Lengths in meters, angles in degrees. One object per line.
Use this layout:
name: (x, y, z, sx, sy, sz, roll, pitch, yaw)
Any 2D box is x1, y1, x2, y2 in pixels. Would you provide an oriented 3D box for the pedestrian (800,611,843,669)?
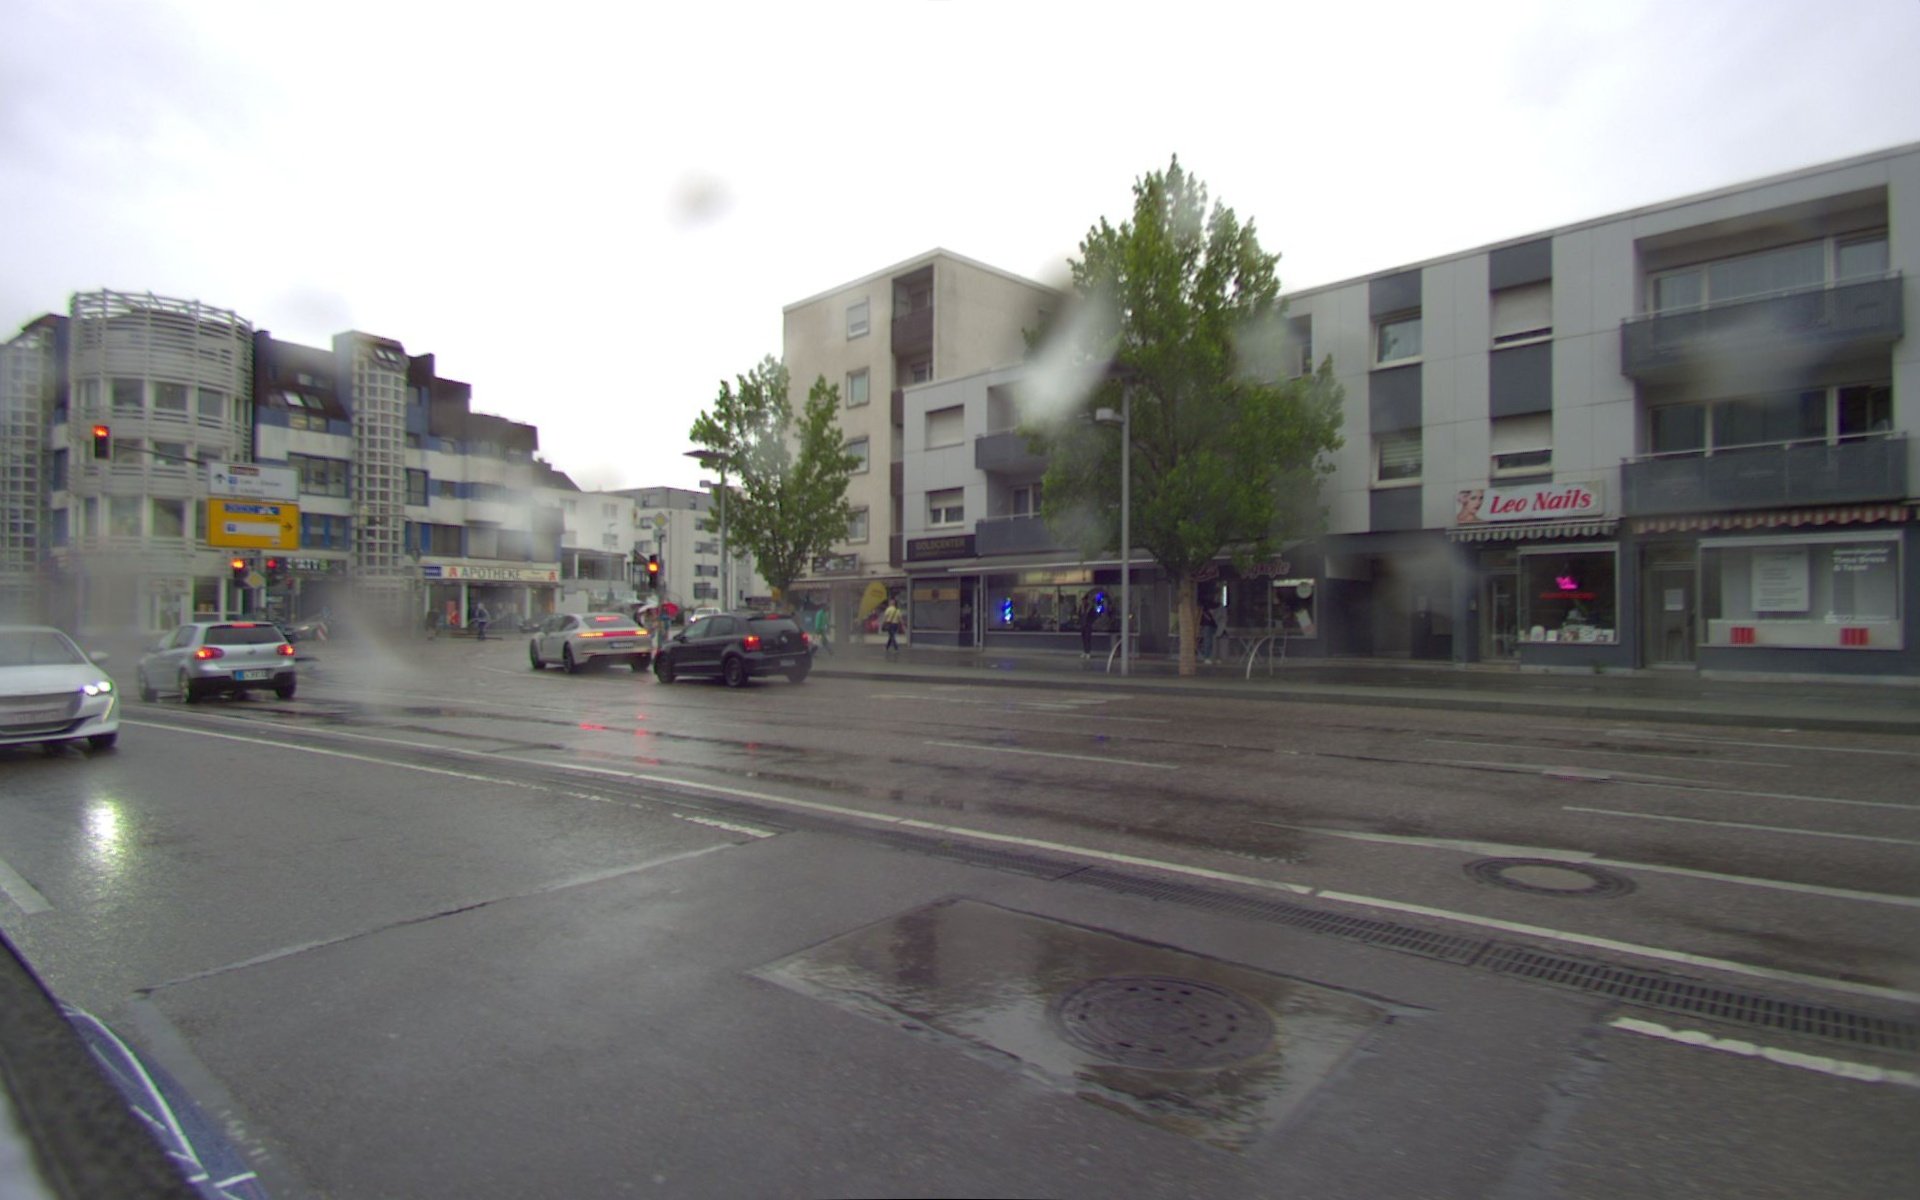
pedestrian: (-4.076, 1.176, 29.730, 0.727, 1.658, 0.996, -2, -2, 44)

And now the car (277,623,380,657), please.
car: (-28.839, 1.810, 46.358, 1.622, 1.501, 3.811, -2, -2, 22)

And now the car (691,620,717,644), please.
car: (-23.397, 2.909, 92.466, 1.968, 2.029, 4.607, 0, -1, -10)

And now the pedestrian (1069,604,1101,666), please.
pedestrian: (3.586, 1.010, 29.086, 0.541, 1.763, 0.681, 1, -3, -43)

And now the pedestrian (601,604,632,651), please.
pedestrian: (-14.374, 1.166, 42.370, 0.978, 1.929, 0.893, -3, -3, 44)

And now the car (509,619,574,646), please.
car: (-27.840, 2.122, 67.392, 1.738, 1.733, 3.860, -1, -2, 27)

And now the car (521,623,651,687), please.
car: (-9.493, 1.309, 25.439, 1.734, 1.438, 4.898, 0, -1, -37)

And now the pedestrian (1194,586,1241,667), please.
pedestrian: (6.594, 0.690, 25.919, 0.749, 2.029, 0.865, 1, -2, -42)

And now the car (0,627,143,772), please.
car: (-11.301, 1.087, 11.849, 3.867, 1.473, 1.854, -2, -1, 37)

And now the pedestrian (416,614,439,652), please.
pedestrian: (-24.708, 1.528, 46.950, 0.826, 1.756, 0.586, 0, -1, -39)

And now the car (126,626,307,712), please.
car: (-14.256, 1.282, 19.348, 3.993, 1.462, 1.741, -3, -2, 37)

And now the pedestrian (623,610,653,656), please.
pedestrian: (-13.702, 1.401, 43.050, 0.978, 1.929, 0.893, -3, -3, 44)

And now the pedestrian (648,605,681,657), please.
pedestrian: (-11.733, 1.219, 40.190, 0.978, 2.029, 0.893, -3, -3, 44)

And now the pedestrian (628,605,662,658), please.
pedestrian: (-12.220, 1.220, 39.271, 0.978, 2.029, 0.893, -3, -3, 44)

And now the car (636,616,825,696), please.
car: (-4.675, 1.107, 20.282, 4.000, 1.438, 1.738, -3, -3, 43)

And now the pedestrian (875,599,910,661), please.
pedestrian: (-2.220, 0.991, 33.429, 0.864, 2.029, 0.750, -3, -3, 44)

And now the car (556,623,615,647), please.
car: (-27.223, 2.530, 73.687, 1.738, 1.733, 3.860, -1, -2, 27)

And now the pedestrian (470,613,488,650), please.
pedestrian: (-22.745, 1.482, 47.861, 0.672, 1.756, 0.587, -1, -1, -20)
